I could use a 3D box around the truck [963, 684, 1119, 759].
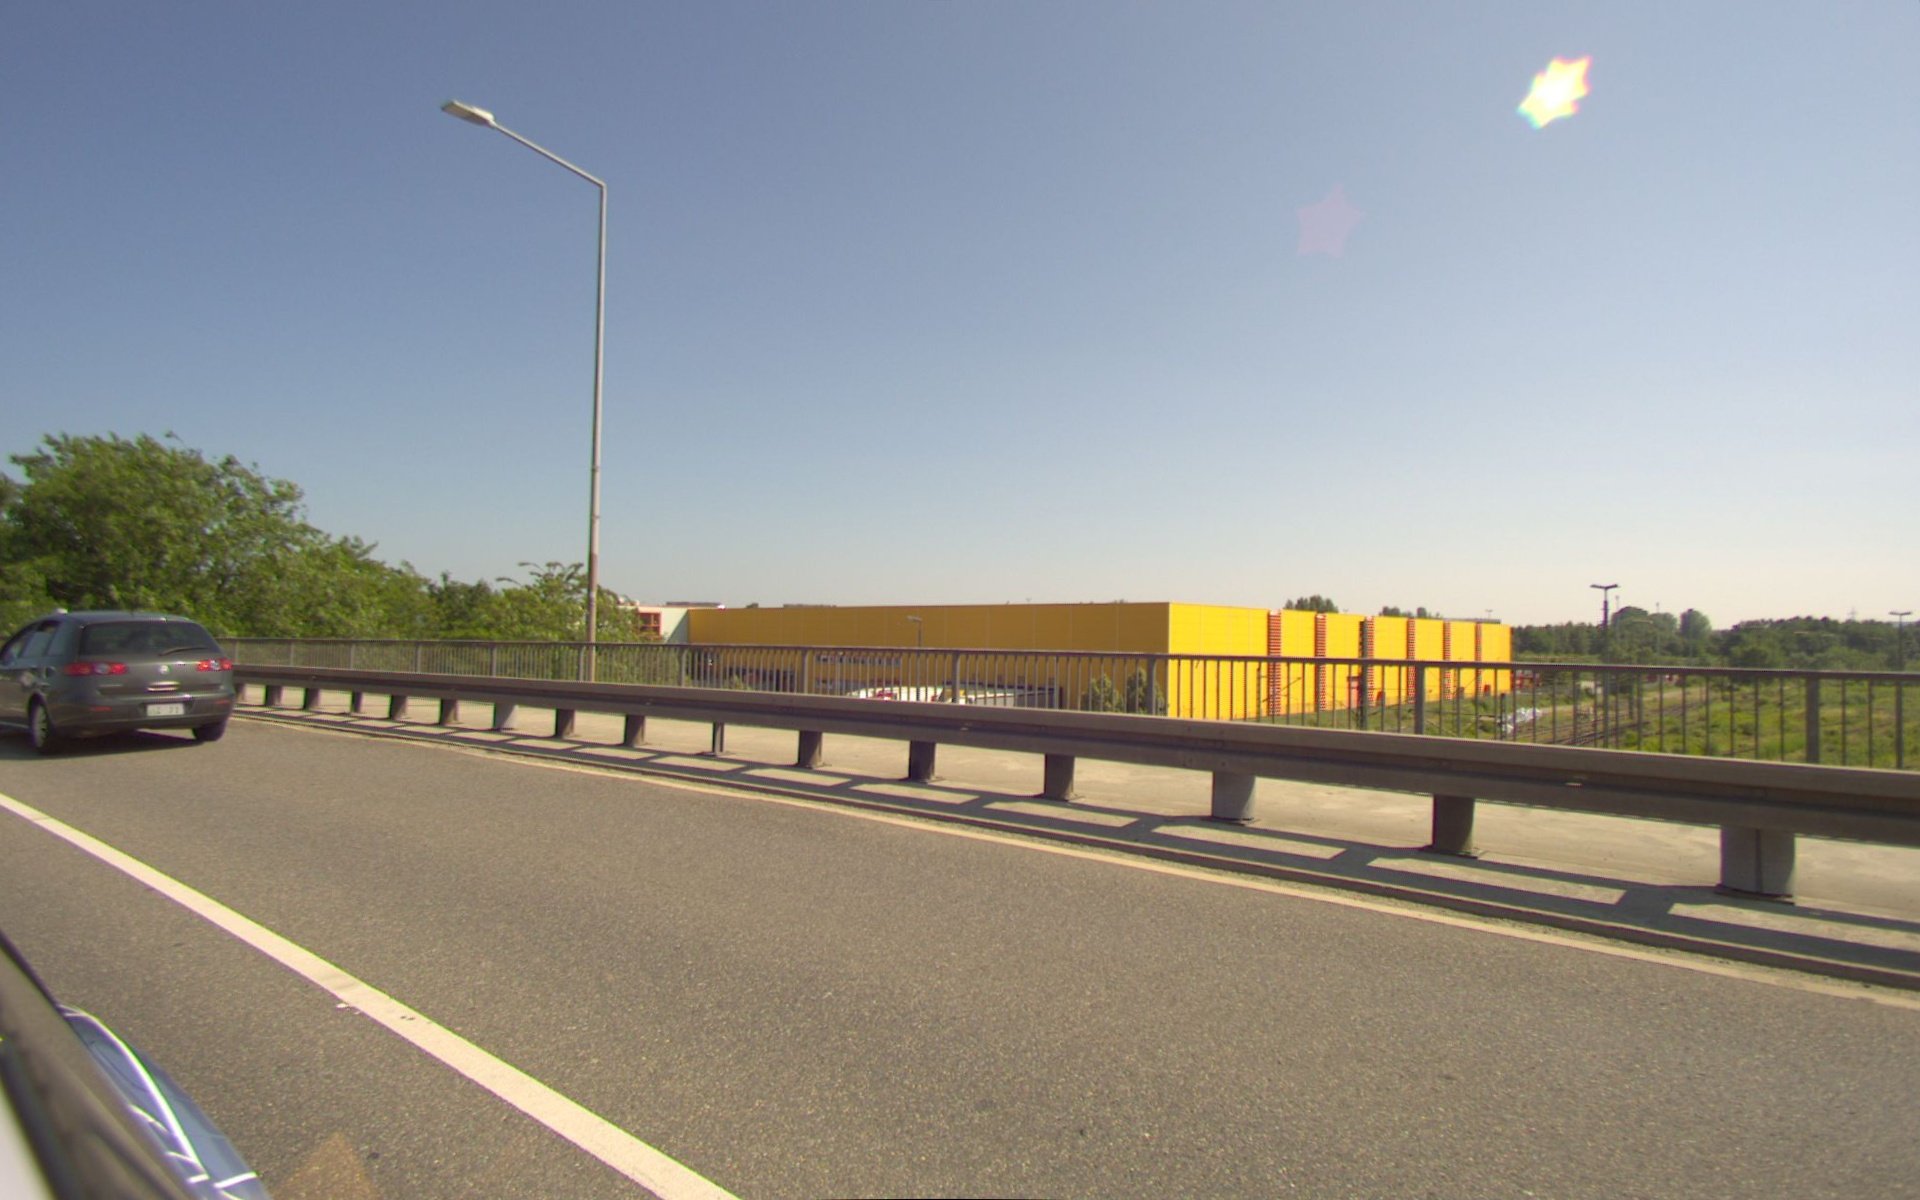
[{"bbox_3d":[8.386,11.751,100.838,5.978,5.719,17.294,-1,-1,44],"label":"truck"}]

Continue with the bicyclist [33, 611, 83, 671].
[{"bbox_3d":[-22.315,1.018,25.040,1.075,1.450,0.603,0,-3,32],"label":"bicyclist"}]

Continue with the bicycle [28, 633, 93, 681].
[{"bbox_3d":[-22.147,1.395,24.906,2.142,1.144,0.607,-2,-5,33],"label":"bicycle"}]

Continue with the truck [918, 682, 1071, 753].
[{"bbox_3d":[3.936,11.921,105.261,5.978,5.719,17.294,-1,-1,44],"label":"truck"}]

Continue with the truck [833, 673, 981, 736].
[{"bbox_3d":[-5.695,11.584,114.499,5.978,5.719,17.294,-1,-1,44],"label":"truck"}]

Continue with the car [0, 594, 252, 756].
[{"bbox_3d":[-10.443,0.862,12.196,4.293,1.637,1.717,-2,-4,35],"label":"car"}]

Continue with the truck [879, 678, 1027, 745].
[{"bbox_3d":[-0.459,11.835,109.866,5.791,5.719,17.294,-1,-1,44],"label":"truck"}]
